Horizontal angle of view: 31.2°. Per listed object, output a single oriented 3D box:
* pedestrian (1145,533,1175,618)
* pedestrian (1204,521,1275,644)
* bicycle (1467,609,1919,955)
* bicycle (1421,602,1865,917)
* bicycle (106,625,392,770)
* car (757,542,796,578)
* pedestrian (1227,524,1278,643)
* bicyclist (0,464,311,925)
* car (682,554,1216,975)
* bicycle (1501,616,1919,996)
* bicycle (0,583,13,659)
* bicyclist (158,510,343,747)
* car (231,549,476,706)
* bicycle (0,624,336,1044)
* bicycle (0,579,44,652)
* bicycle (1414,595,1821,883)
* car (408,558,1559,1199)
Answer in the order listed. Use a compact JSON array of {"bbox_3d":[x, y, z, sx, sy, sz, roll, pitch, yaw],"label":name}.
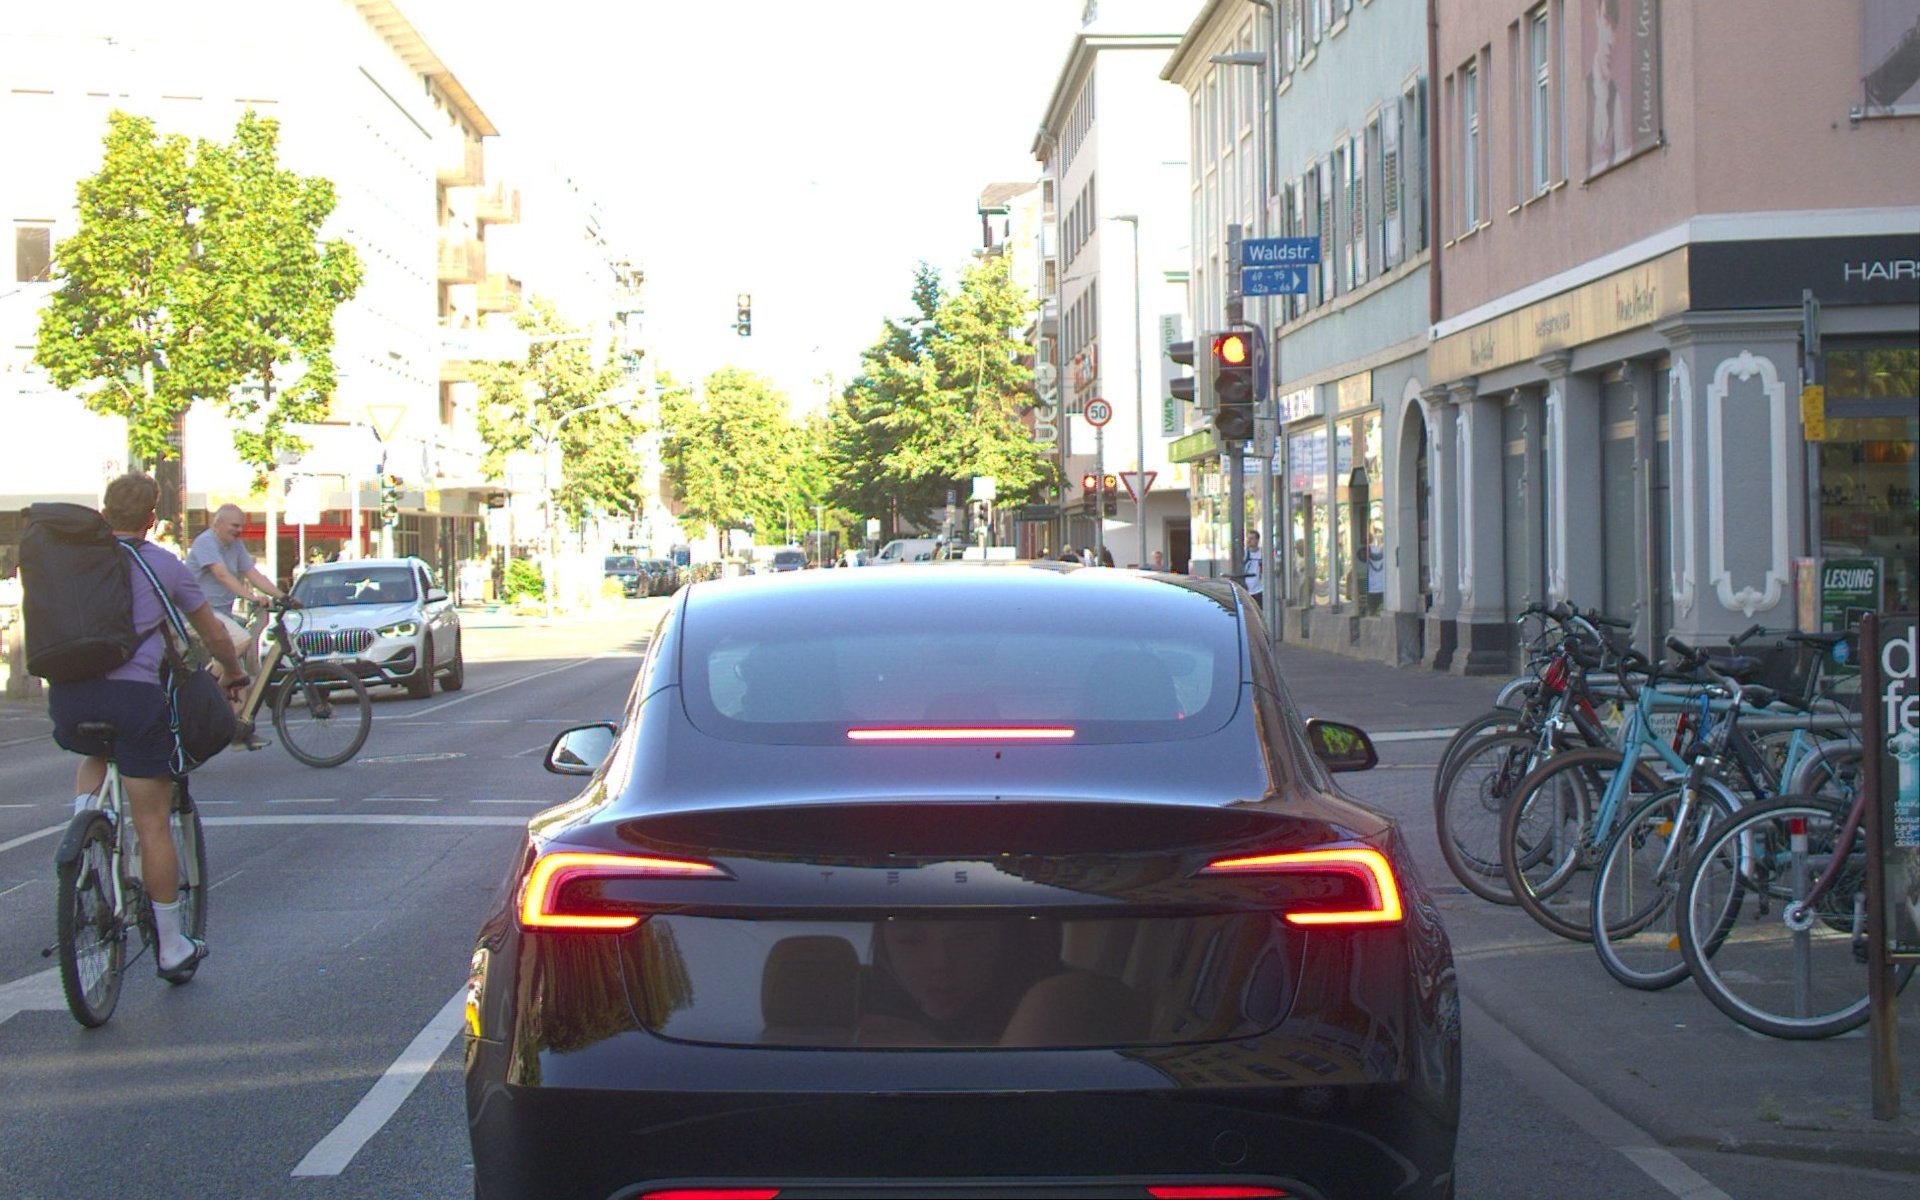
[{"bbox_3d":[3.986,-0.486,68.500,0.570,1.685,0.387,0,1,-1],"label":"pedestrian"},{"bbox_3d":[4.203,-0.265,51.743,0.999,1.844,0.615,0,1,-1],"label":"pedestrian"},{"bbox_3d":[2.688,0.642,12.354,1.627,1.156,0.433,-2,1,-1],"label":"bicycle"},{"bbox_3d":[2.687,0.620,13.582,1.627,1.156,0.433,-2,1,-1],"label":"bicycle"},{"bbox_3d":[-5.019,0.677,24.283,1.864,0.942,0.628,1,1,11],"label":"bicycle"},{"bbox_3d":[-8.844,-1.925,165.712,1.829,1.718,4.000,0,1,-2],"label":"car"},{"bbox_3d":[4.394,-0.249,51.657,0.704,1.777,0.533,0,1,-1],"label":"pedestrian"},{"bbox_3d":[-2.598,0.285,11.177,0.796,1.430,1.008,0,1,-1],"label":"bicyclist"},{"bbox_3d":[-0.033,0.544,13.806,1.850,1.450,3.786,0,1,0],"label":"car"},{"bbox_3d":[2.632,0.656,11.206,1.627,1.156,0.433,-2,1,-1],"label":"bicycle"},{"bbox_3d":[-14.917,0.303,49.984,2.082,1.100,0.806,0,1,-1],"label":"bicycle"},{"bbox_3d":[-5.006,0.190,24.273,1.120,1.648,0.628,0,1,11],"label":"bicyclist"},{"bbox_3d":[-6.738,0.263,38.625,1.993,1.535,4.000,-4,1,-1],"label":"car"},{"bbox_3d":[-2.602,0.716,11.293,0.796,1.228,1.774,0,1,-1],"label":"bicycle"},{"bbox_3d":[-15.056,0.232,52.178,2.082,1.100,0.806,0,1,-1],"label":"bicycle"},{"bbox_3d":[2.811,0.591,14.768,1.628,1.156,0.433,-2,1,1],"label":"bicycle"},{"bbox_3d":[0.043,0.642,7.424,1.850,1.450,3.786,0,1,0],"label":"car"}]
